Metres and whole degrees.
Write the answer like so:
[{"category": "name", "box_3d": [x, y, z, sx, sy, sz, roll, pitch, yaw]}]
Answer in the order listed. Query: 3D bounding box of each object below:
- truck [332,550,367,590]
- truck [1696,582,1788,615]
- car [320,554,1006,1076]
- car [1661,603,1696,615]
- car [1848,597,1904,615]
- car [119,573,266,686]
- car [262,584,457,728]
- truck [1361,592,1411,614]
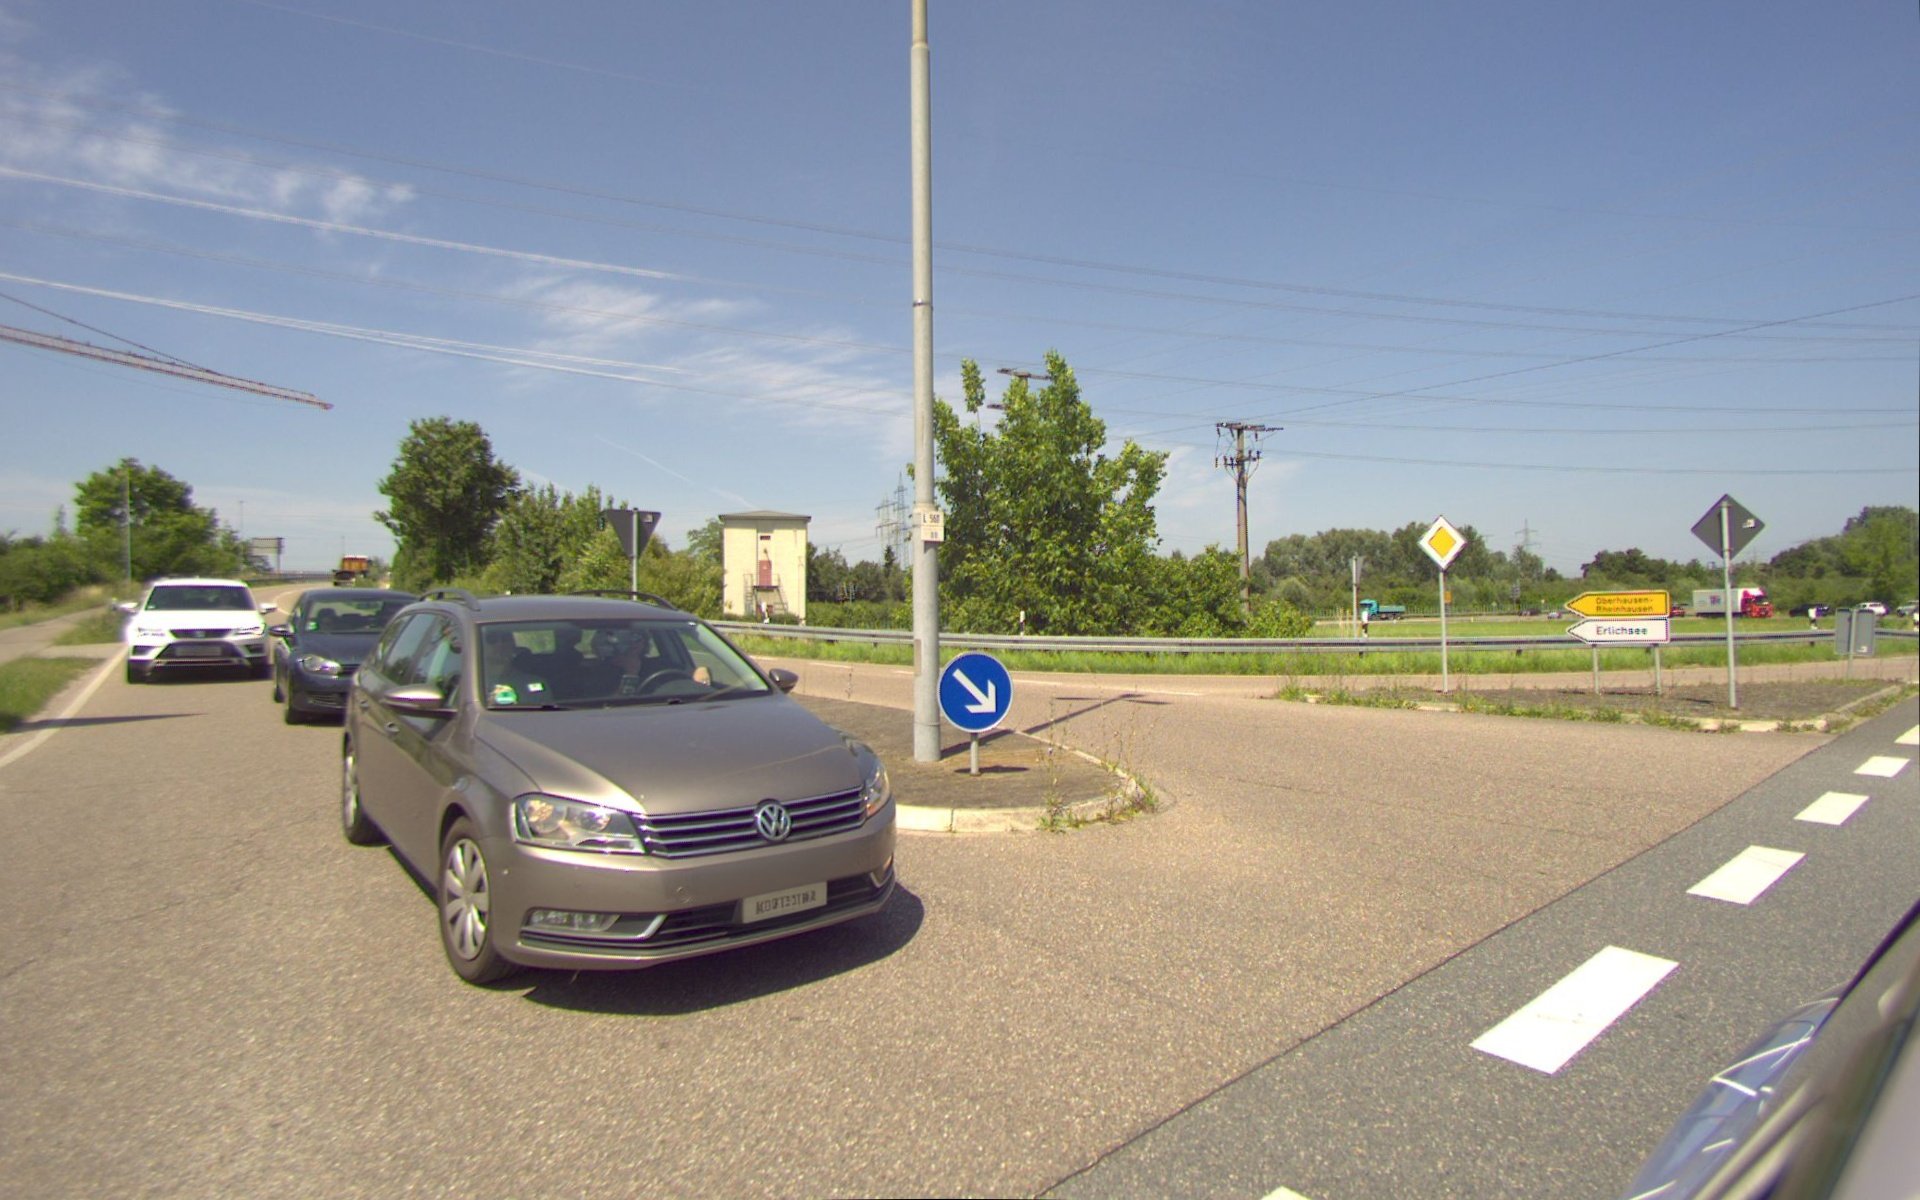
[{"category": "truck", "box_3d": [-64.434, -3.130, 106.927, 2.983, 3.632, 8.435, -3, -1, -31]}, {"category": "truck", "box_3d": [92.105, -0.088, 119.452, 2.672, 3.625, 9.561, -3, -1, -4]}, {"category": "car", "box_3d": [-1.955, 0.629, 5.332, 1.880, 1.527, 4.521, 0, 0, -39]}, {"category": "car", "box_3d": [97.802, 1.199, 137.862, 1.772, 1.535, 4.386, -2, 0, 4]}, {"category": "car", "box_3d": [94.855, 0.595, 104.856, 1.831, 1.622, 4.762, -4, -3, 9]}, {"category": "car", "box_3d": [-12.773, 0.425, 16.903, 1.726, 1.642, 4.095, 2, -1, -37]}, {"category": "car", "box_3d": [-7.442, 0.559, 12.364, 1.605, 1.459, 4.010, 0, 0, -37]}, {"category": "truck", "box_3d": [72.445, 0.594, 172.181, 7.453, 3.516, 2.614, -1, -2, -9]}]
